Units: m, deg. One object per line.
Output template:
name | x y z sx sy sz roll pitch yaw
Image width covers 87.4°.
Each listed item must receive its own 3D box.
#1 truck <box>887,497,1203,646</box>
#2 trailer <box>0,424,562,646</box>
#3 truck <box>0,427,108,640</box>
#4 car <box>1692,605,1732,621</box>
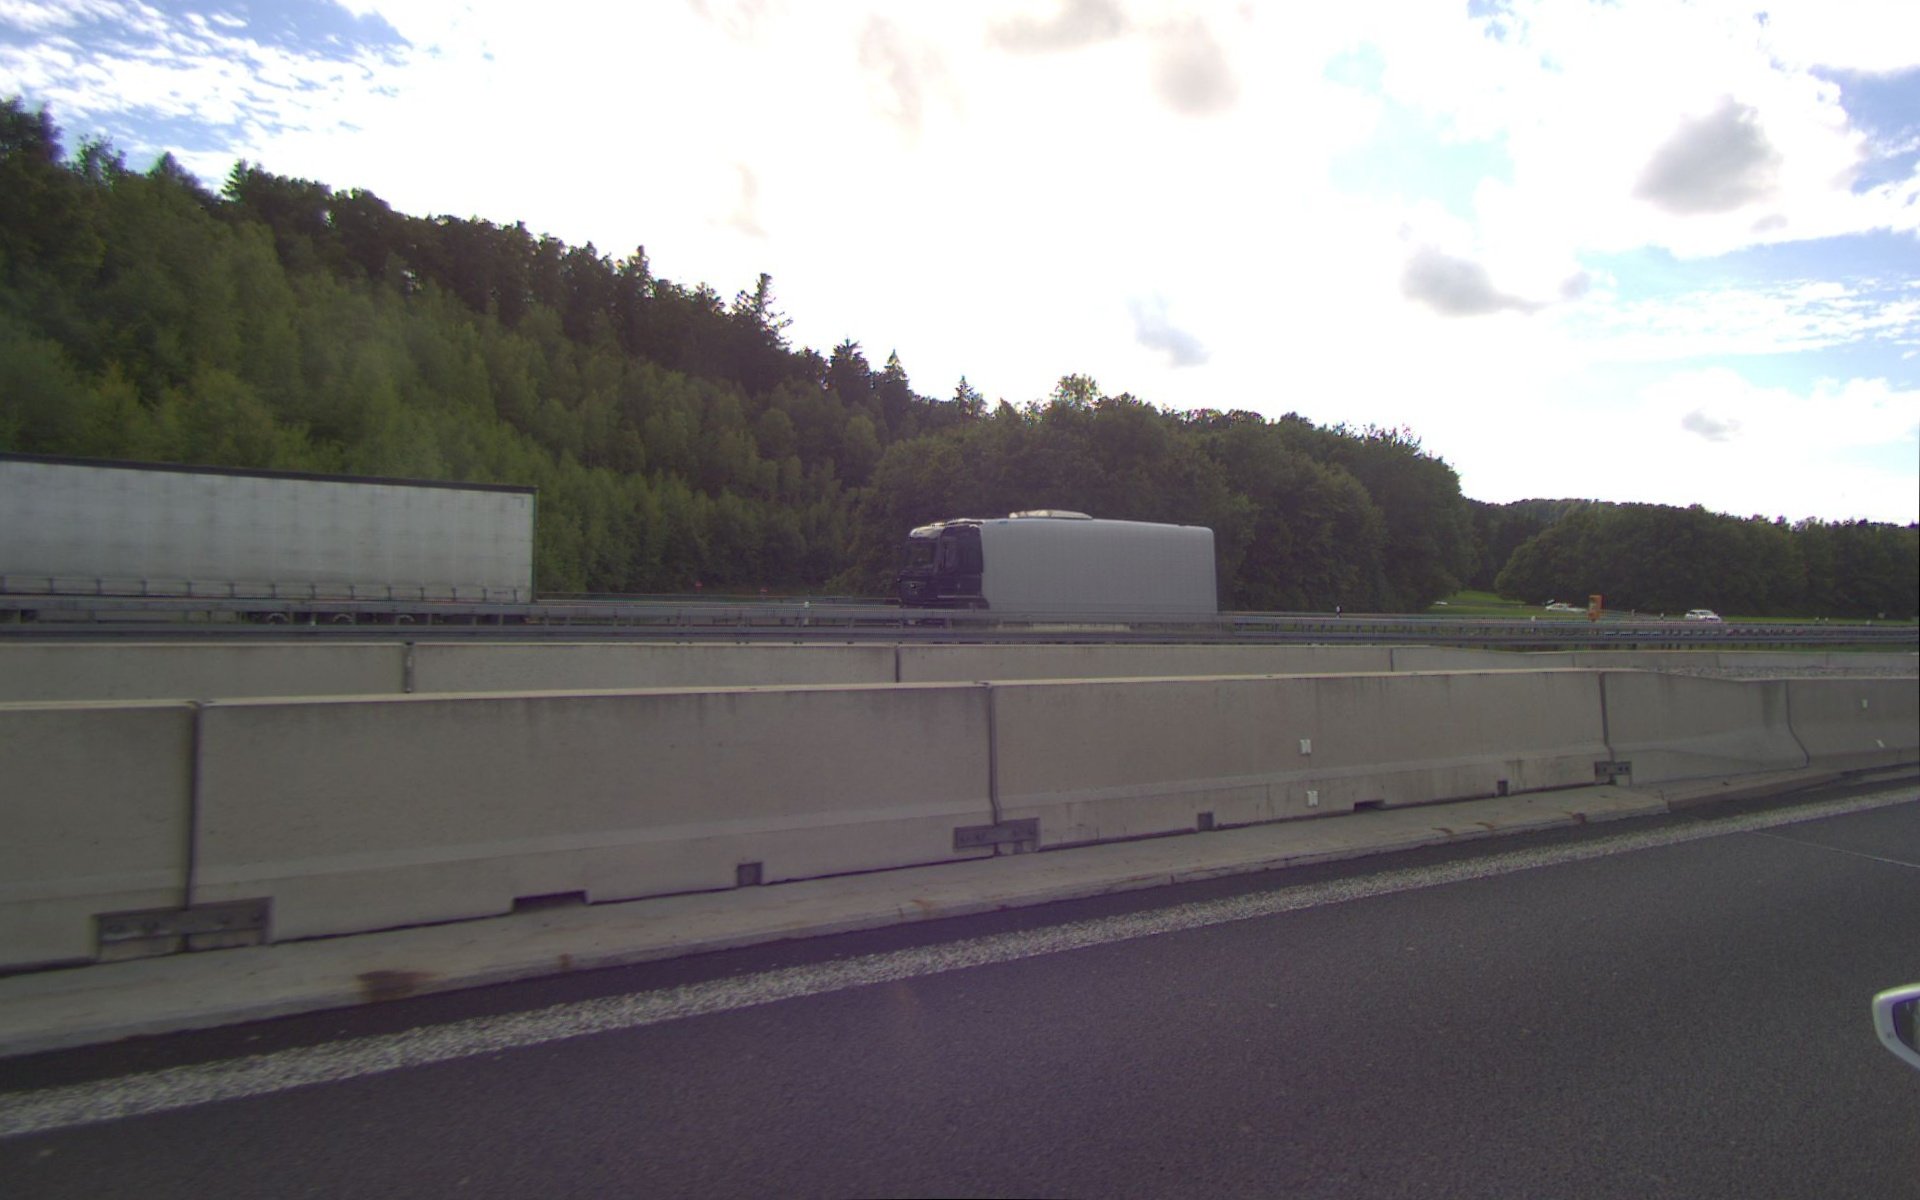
truck | 2.966 -0.704 32.358 10.346 4.021 2.887 3 -1 -31
trailer | -16.369 -1.254 24.436 11.995 4.349 3.306 3 -1 -29
truck | -22.593 -1.499 20.931 6.668 4.349 3.306 3 -1 -29
car | 71.449 1.192 95.527 1.753 1.450 4.624 1 0 20
